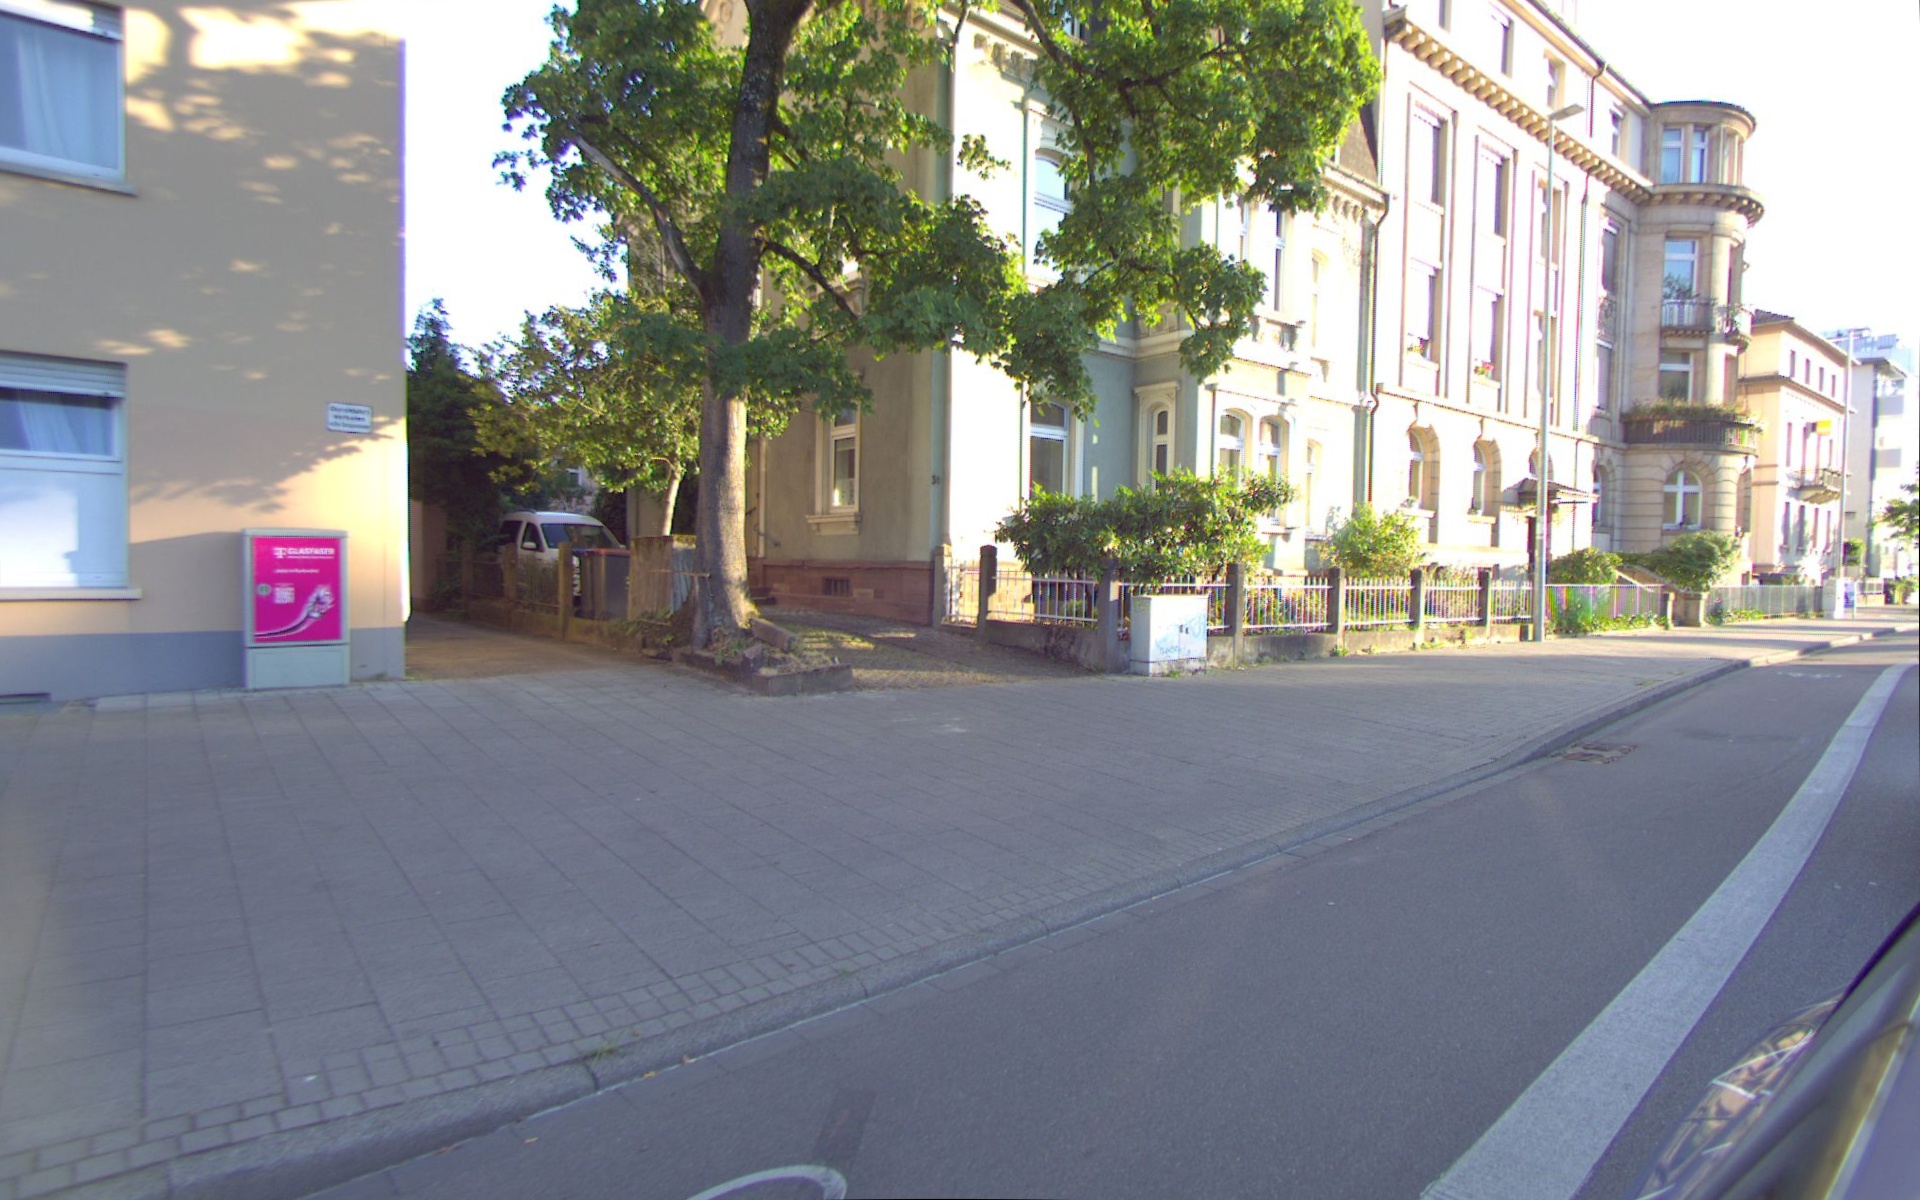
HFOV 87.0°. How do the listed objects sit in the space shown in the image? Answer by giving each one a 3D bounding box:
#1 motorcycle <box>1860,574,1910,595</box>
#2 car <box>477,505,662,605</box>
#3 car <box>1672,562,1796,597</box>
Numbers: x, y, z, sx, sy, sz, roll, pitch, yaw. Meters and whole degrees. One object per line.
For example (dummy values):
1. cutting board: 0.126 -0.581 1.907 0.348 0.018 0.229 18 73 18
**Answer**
1. motorcycle: 48.817 -0.833 53.435 0.564 1.110 1.851 0 2 -33
2. car: -7.921 -0.957 20.273 1.796 1.778 4.512 0 4 -44
3. car: 34.612 -0.957 45.328 1.903 1.499 4.097 -1 2 -39
